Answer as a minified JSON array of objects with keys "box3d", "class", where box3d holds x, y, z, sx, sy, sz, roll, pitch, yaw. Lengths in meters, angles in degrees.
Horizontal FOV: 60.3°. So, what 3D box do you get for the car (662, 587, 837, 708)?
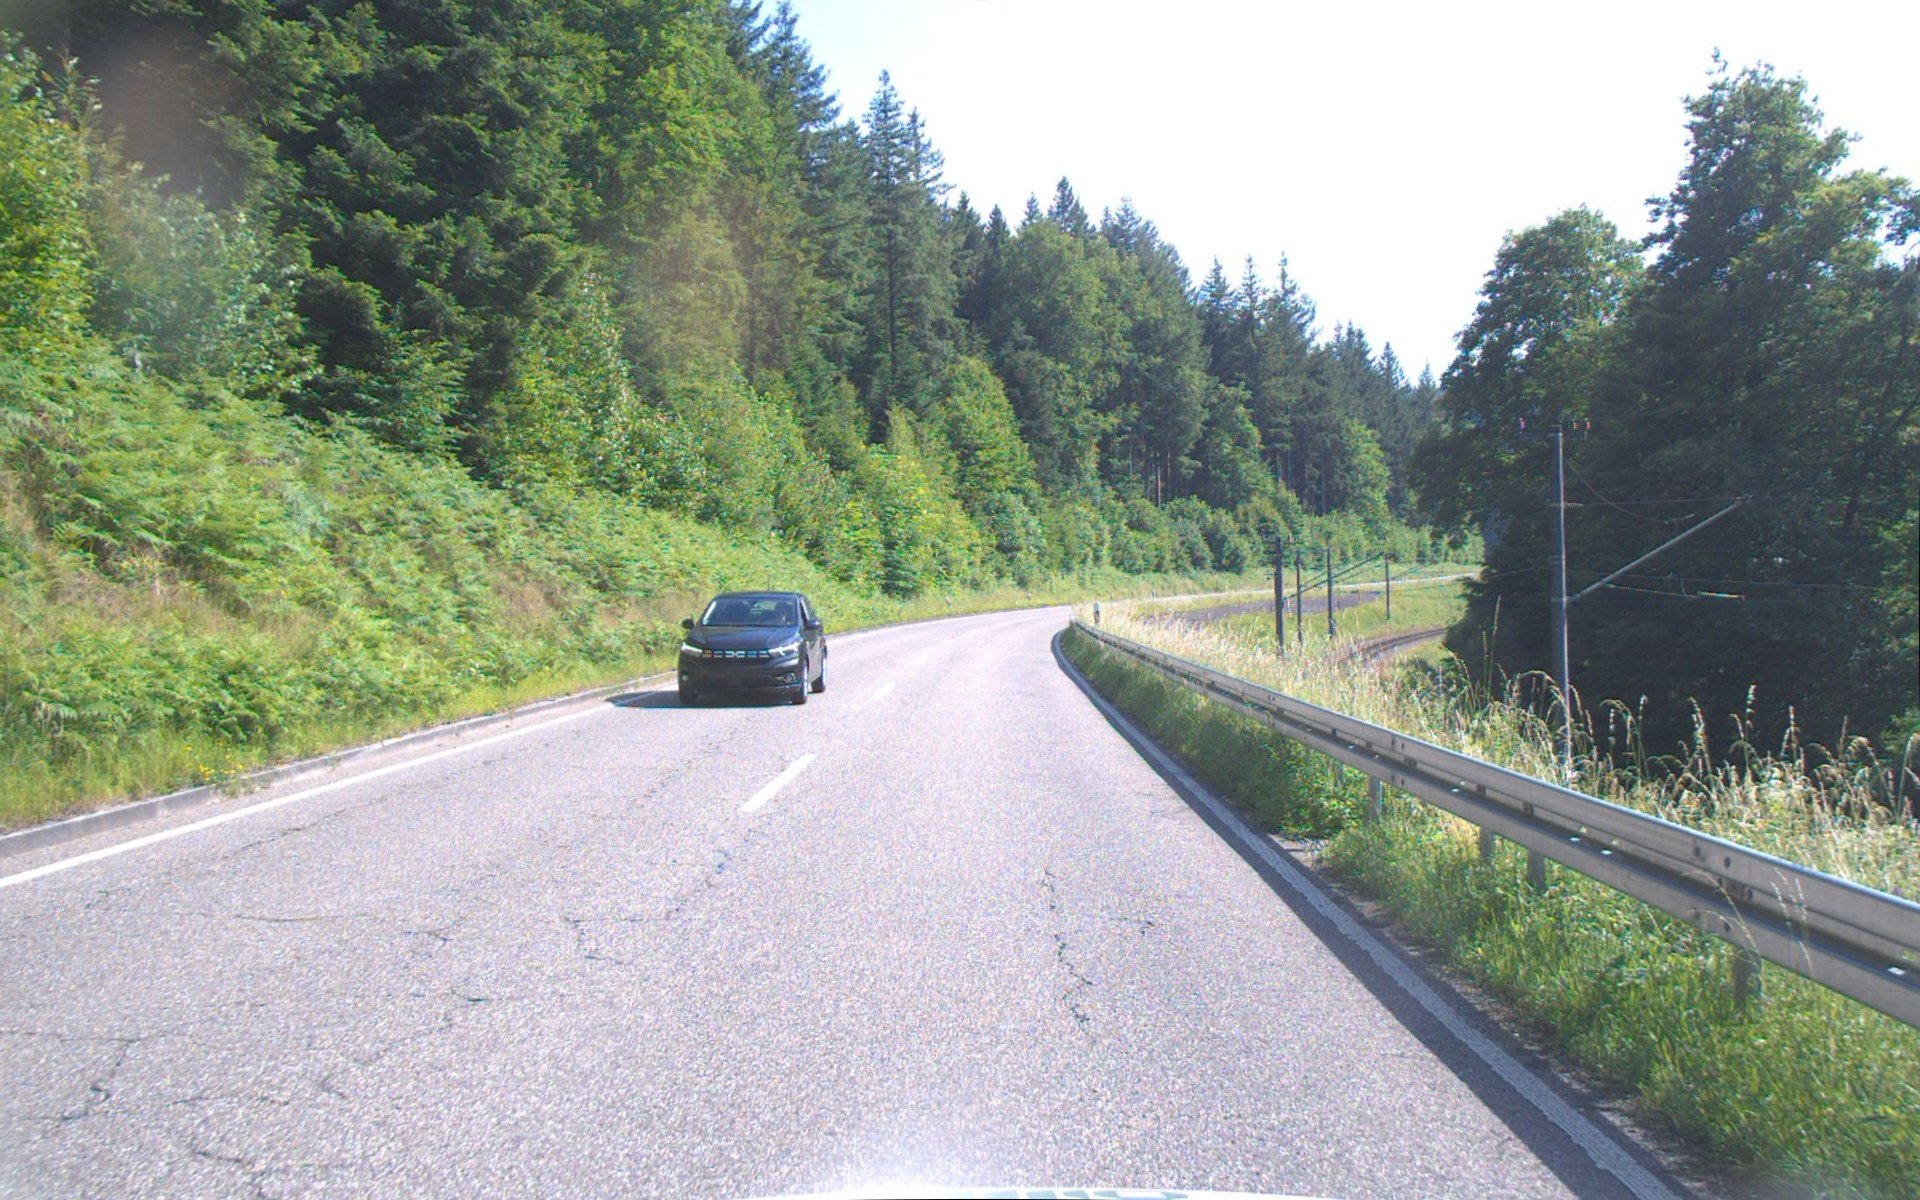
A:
[{"box3d":[-2.910,0.615,23.679,1.819,1.556,4.001,-1,0,2],"class":"car"}]
